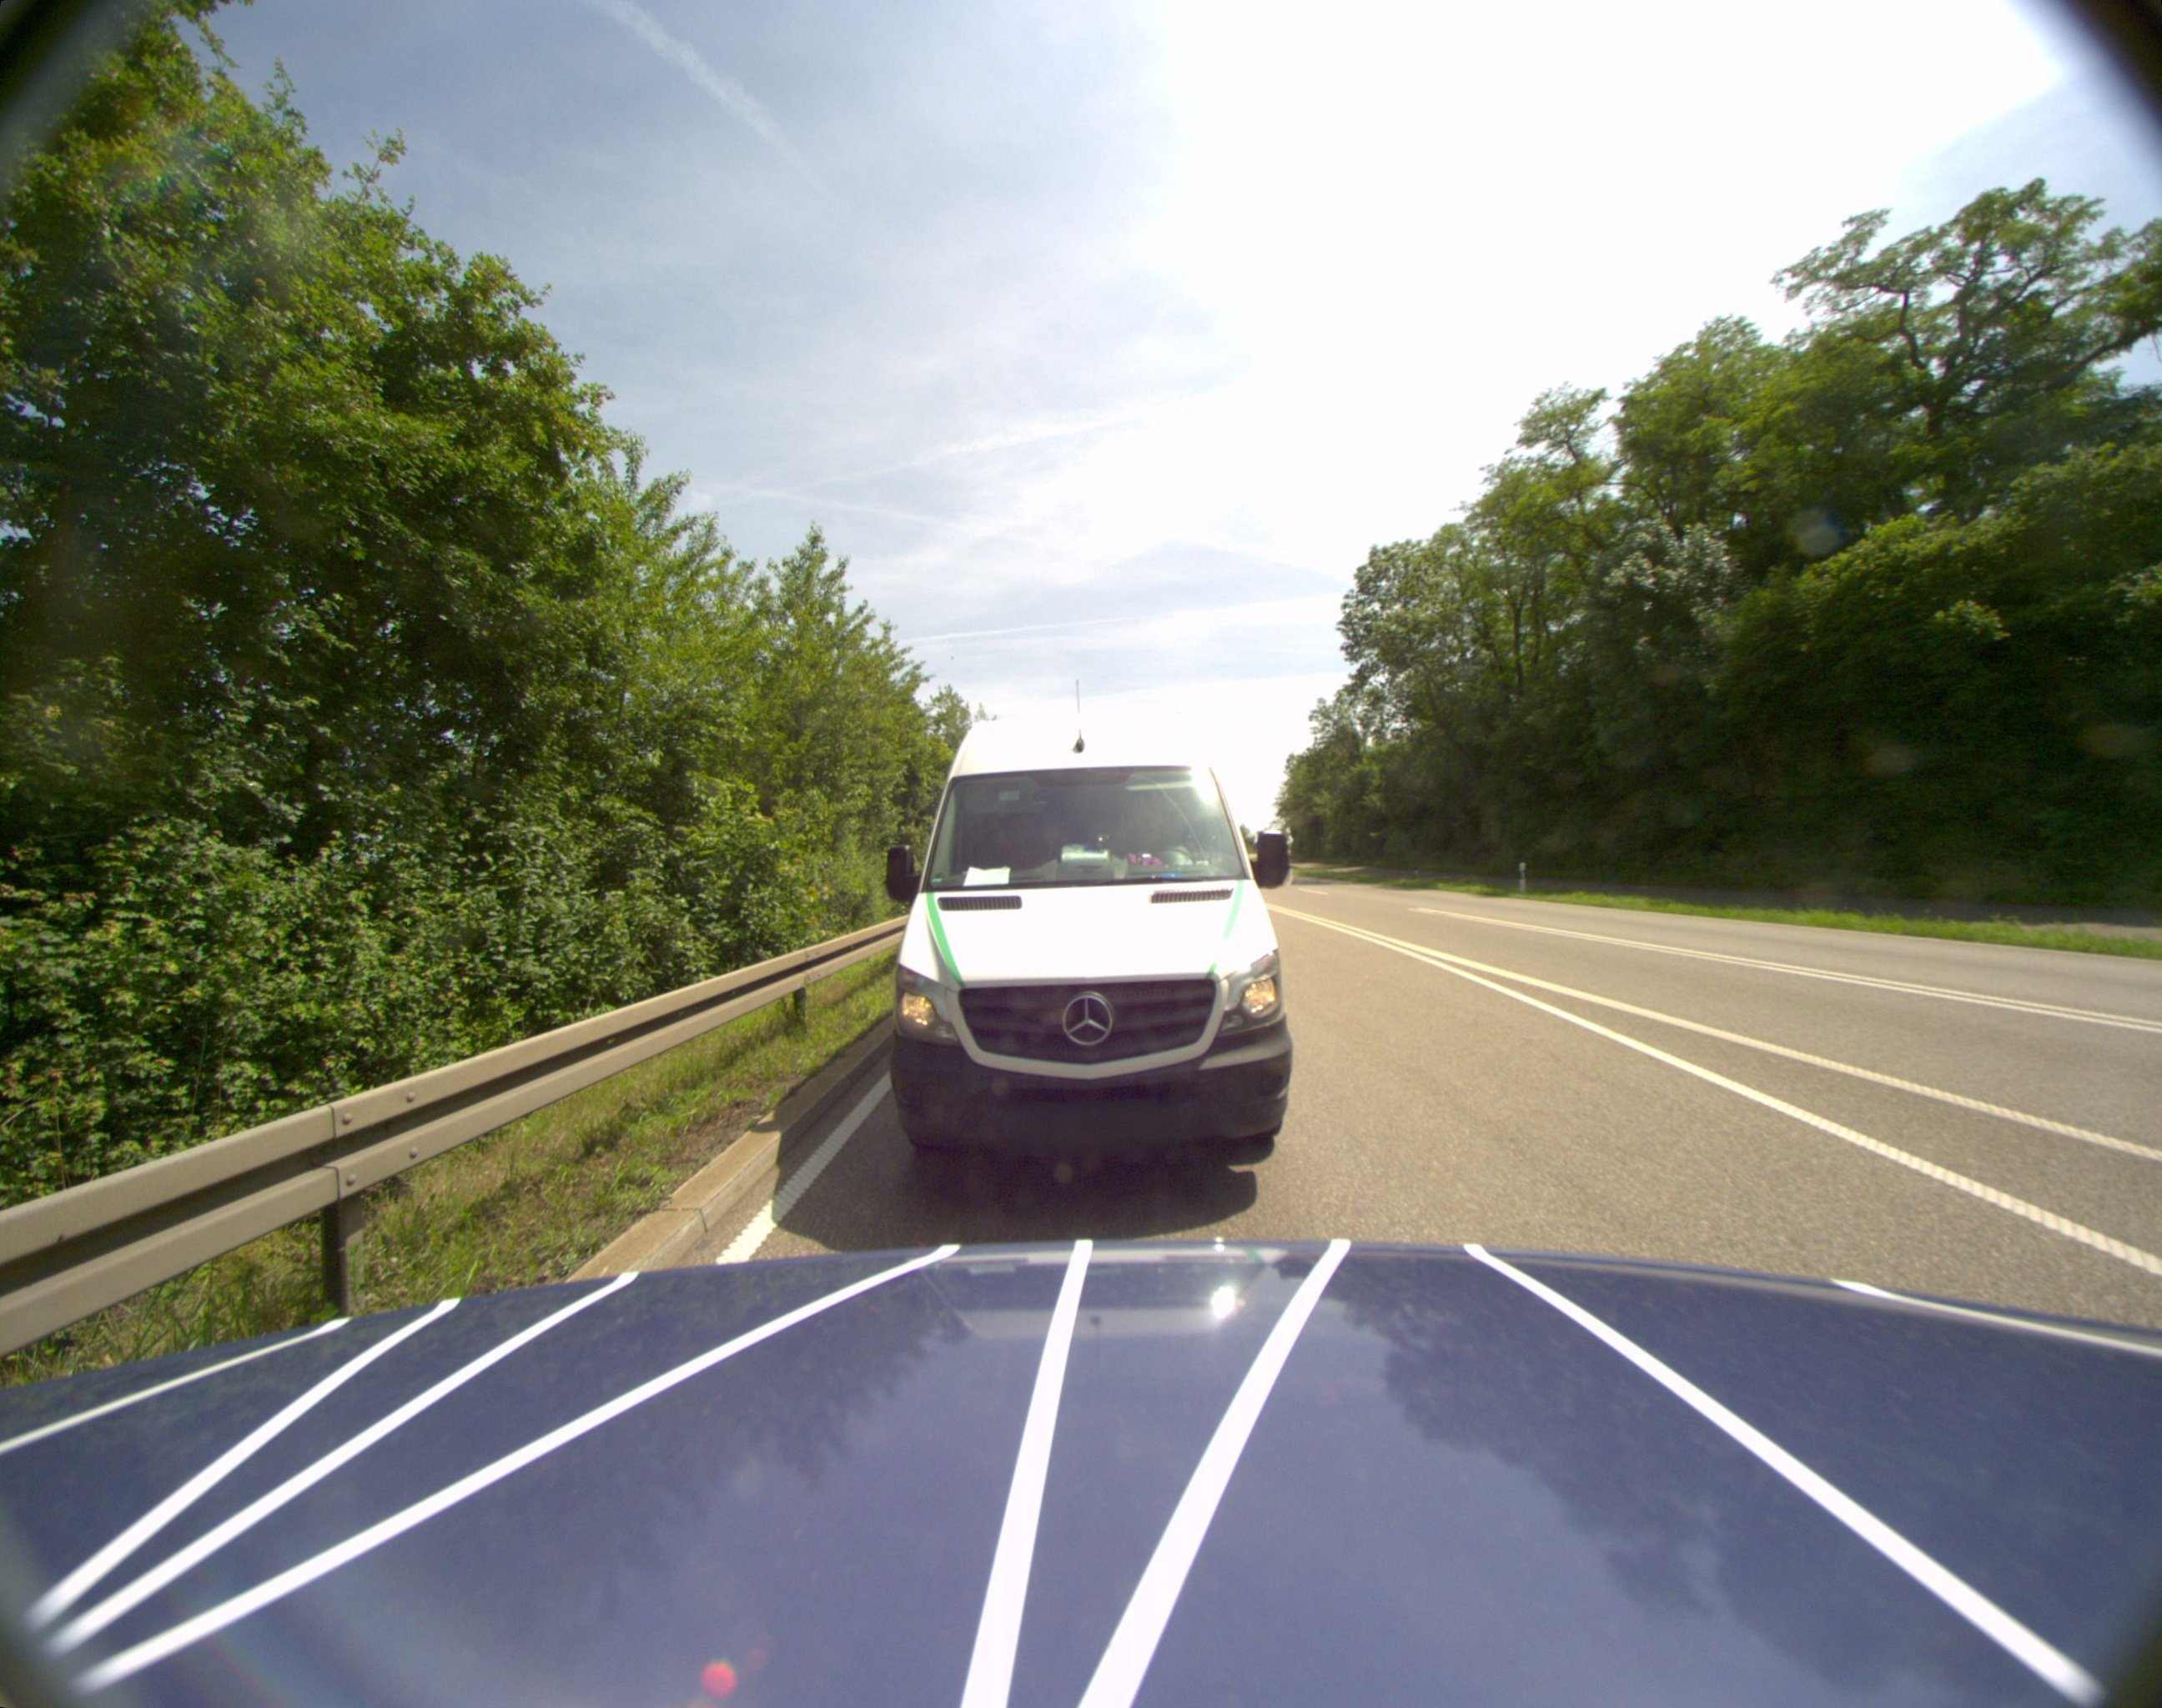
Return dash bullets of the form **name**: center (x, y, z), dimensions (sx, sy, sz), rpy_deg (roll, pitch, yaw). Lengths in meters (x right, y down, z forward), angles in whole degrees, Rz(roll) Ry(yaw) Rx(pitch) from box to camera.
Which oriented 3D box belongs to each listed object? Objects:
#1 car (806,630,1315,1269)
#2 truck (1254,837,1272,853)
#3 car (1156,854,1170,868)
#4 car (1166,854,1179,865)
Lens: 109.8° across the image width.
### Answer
- **car**: center (-0.003, 0.394, 5.668), dimensions (1.958, 2.502, 5.267), rpy_deg (-2, 0, 2)
- **truck**: center (56.784, -2.770, 236.809), dimensions (4.392, 4.433, 14.729), rpy_deg (-2, 0, 17)
- **car**: center (12.838, 1.047, 118.557), dimensions (1.850, 2.002, 3.875), rpy_deg (-2, 1, 11)
- **car**: center (16.274, 0.959, 135.292), dimensions (1.764, 1.849, 3.813), rpy_deg (-2, 1, 13)
